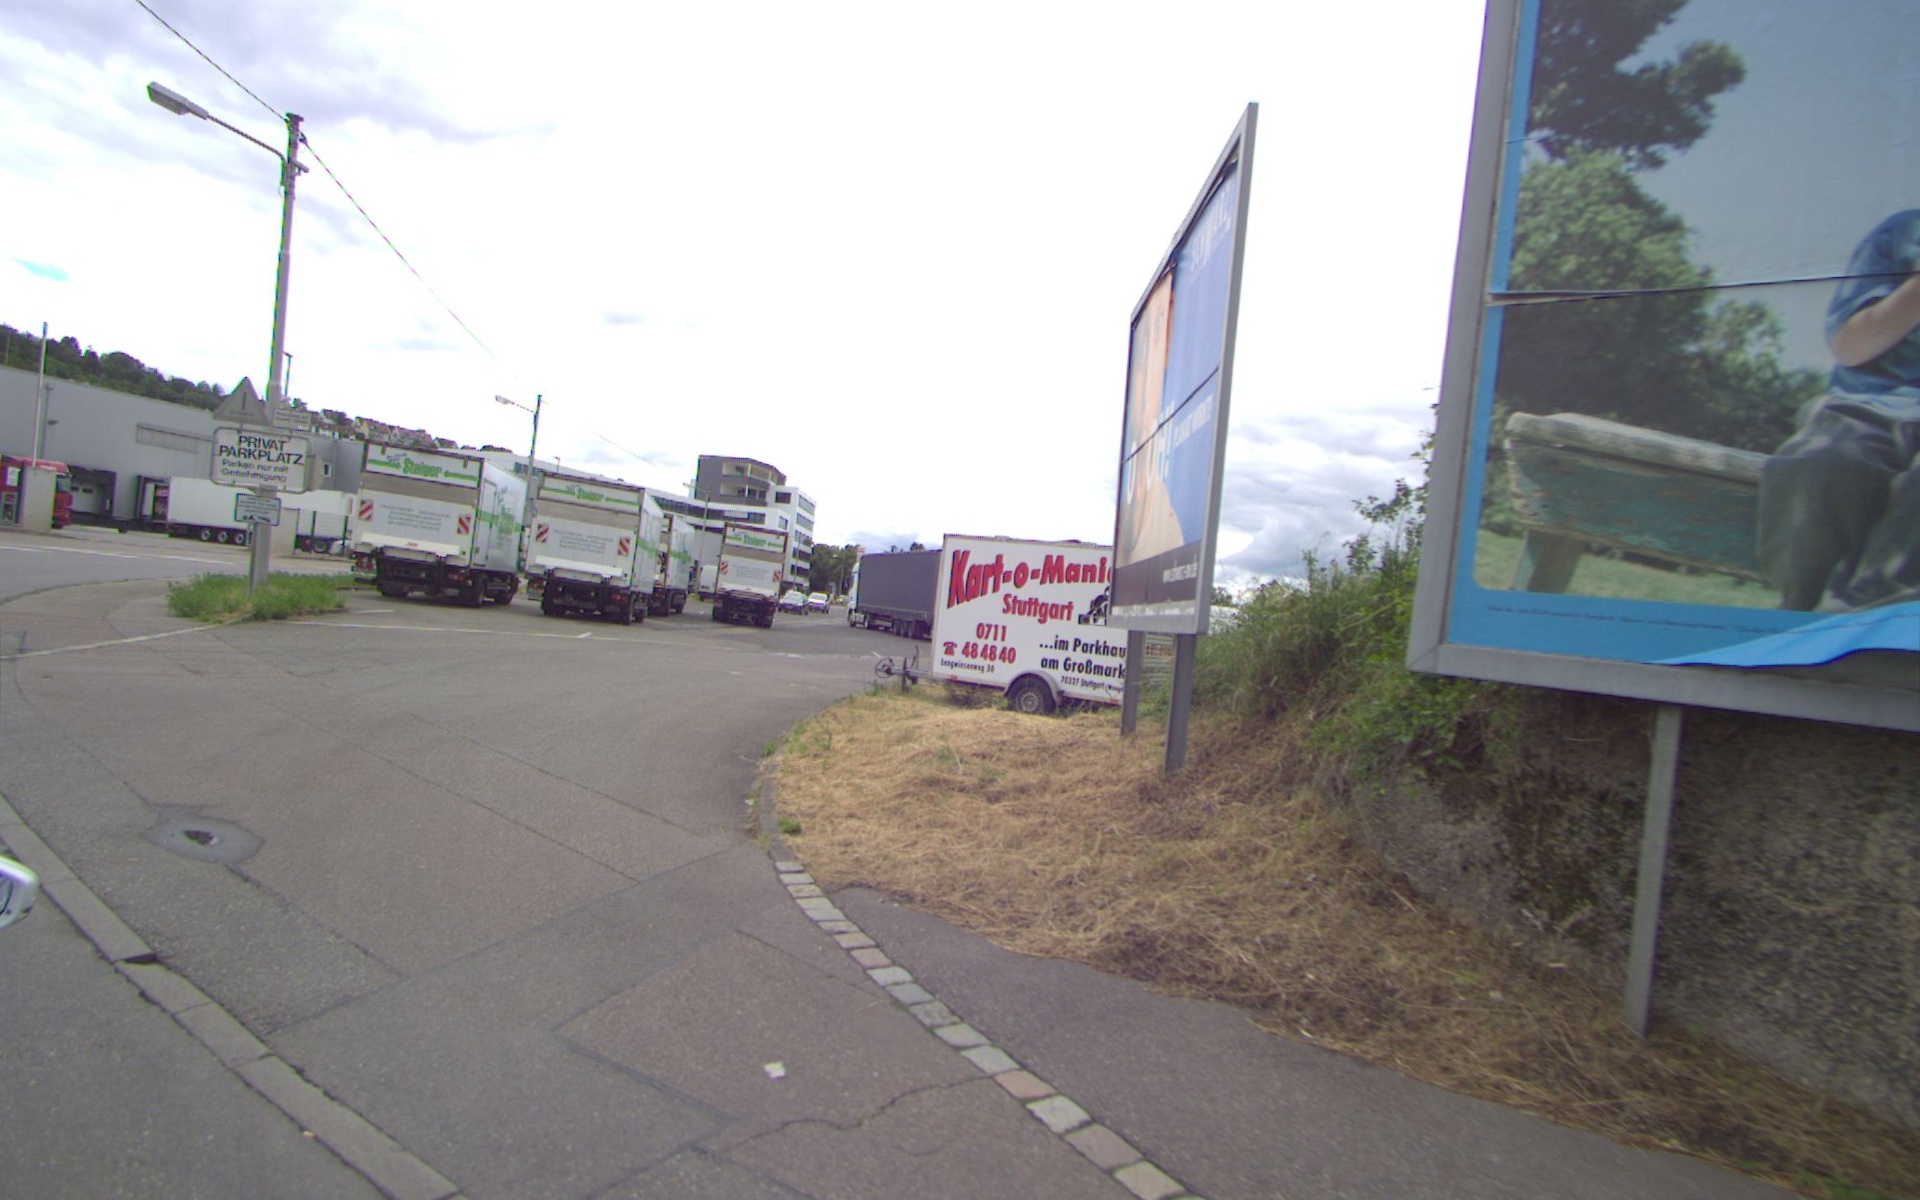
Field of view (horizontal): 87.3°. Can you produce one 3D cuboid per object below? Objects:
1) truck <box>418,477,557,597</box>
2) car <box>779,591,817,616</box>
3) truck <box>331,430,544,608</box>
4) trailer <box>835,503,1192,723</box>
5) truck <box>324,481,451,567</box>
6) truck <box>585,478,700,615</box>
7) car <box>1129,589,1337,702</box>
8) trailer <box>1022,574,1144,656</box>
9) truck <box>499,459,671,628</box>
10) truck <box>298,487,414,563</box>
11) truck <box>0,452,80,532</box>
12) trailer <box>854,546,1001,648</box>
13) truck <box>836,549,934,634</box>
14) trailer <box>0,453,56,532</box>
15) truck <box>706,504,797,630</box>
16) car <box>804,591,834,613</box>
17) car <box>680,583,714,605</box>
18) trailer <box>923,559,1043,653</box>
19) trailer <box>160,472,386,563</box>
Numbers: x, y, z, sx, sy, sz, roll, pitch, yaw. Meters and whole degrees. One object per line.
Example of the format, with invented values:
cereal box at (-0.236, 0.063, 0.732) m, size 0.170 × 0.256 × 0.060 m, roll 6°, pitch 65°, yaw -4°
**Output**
truck at (-17.771, -2.182, 38.502) m, size 3.025 × 3.675 × 8.580 m, roll 7°, pitch -1°, yaw -15°
car at (-11.535, 0.267, 71.860) m, size 1.861 × 1.462 × 4.428 m, roll 9°, pitch -1°, yaw -1°
truck at (-13.670, -1.876, 27.250) m, size 3.025 × 3.675 × 8.580 m, roll 7°, pitch -1°, yaw -15°
trailer at (0.706, 0.123, 13.912) m, size 4.338 × 2.426 × 1.808 m, roll 6°, pitch 0°, yaw 27°
truck at (-33.245, -4.285, 58.807) m, size 2.876 × 4.069 × 6.944 m, roll 7°, pitch -1°, yaw 2°
truck at (-12.183, -1.870, 39.448) m, size 3.023 × 4.402 × 8.766 m, roll 7°, pitch -1°, yaw -12°
car at (8.570, 1.380, 31.767) m, size 5.797 × 2.812 × 2.022 m, roll 6°, pitch 0°, yaw 27°
trailer at (8.142, 0.800, 69.716) m, size 3.157 × 4.718 × 13.056 m, roll 6°, pitch 0°, yaw -16°
truck at (-10.443, -1.396, 29.067) m, size 3.025 × 3.672 × 8.586 m, roll 9°, pitch -1°, yaw -13°
truck at (-39.227, -4.801, 65.530) m, size 5.526 × 4.069 × 2.924 m, roll 7°, pitch 0°, yaw -14°
truck at (-54.339, -6.327, 58.001) m, size 5.816 × 3.976 × 2.802 m, roll 6°, pitch 0°, yaw 21°
trailer at (-1.998, -0.359, 49.012) m, size 3.019 × 4.027 × 13.042 m, roll 6°, pitch 0°, yaw -19°
truck at (-4.318, -0.497, 55.732) m, size 3.029 × 4.050 × 8.004 m, roll 7°, pitch -1°, yaw -19°
trailer at (-58.944, -6.705, 59.864) m, size 10.792 × 4.127 × 2.792 m, roll 6°, pitch 0°, yaw 21°
truck at (-9.319, -1.306, 44.320) m, size 3.024 × 4.593 × 9.761 m, roll 7°, pitch -1°, yaw -14°
car at (-11.976, 0.184, 85.630) m, size 1.861 × 1.631 × 4.428 m, roll 7°, pitch -1°, yaw -1°
car at (-24.381, -0.576, 93.264) m, size 1.963 × 1.772 × 3.998 m, roll 7°, pitch 0°, yaw 0°
trailer at (1.014, 0.117, 59.954) m, size 3.016 × 4.718 × 13.056 m, roll 6°, pitch 0°, yaw -16°
trailer at (-45.409, -5.446, 66.533) m, size 13.750 × 4.235 × 3.038 m, roll 7°, pitch 0°, yaw 10°
